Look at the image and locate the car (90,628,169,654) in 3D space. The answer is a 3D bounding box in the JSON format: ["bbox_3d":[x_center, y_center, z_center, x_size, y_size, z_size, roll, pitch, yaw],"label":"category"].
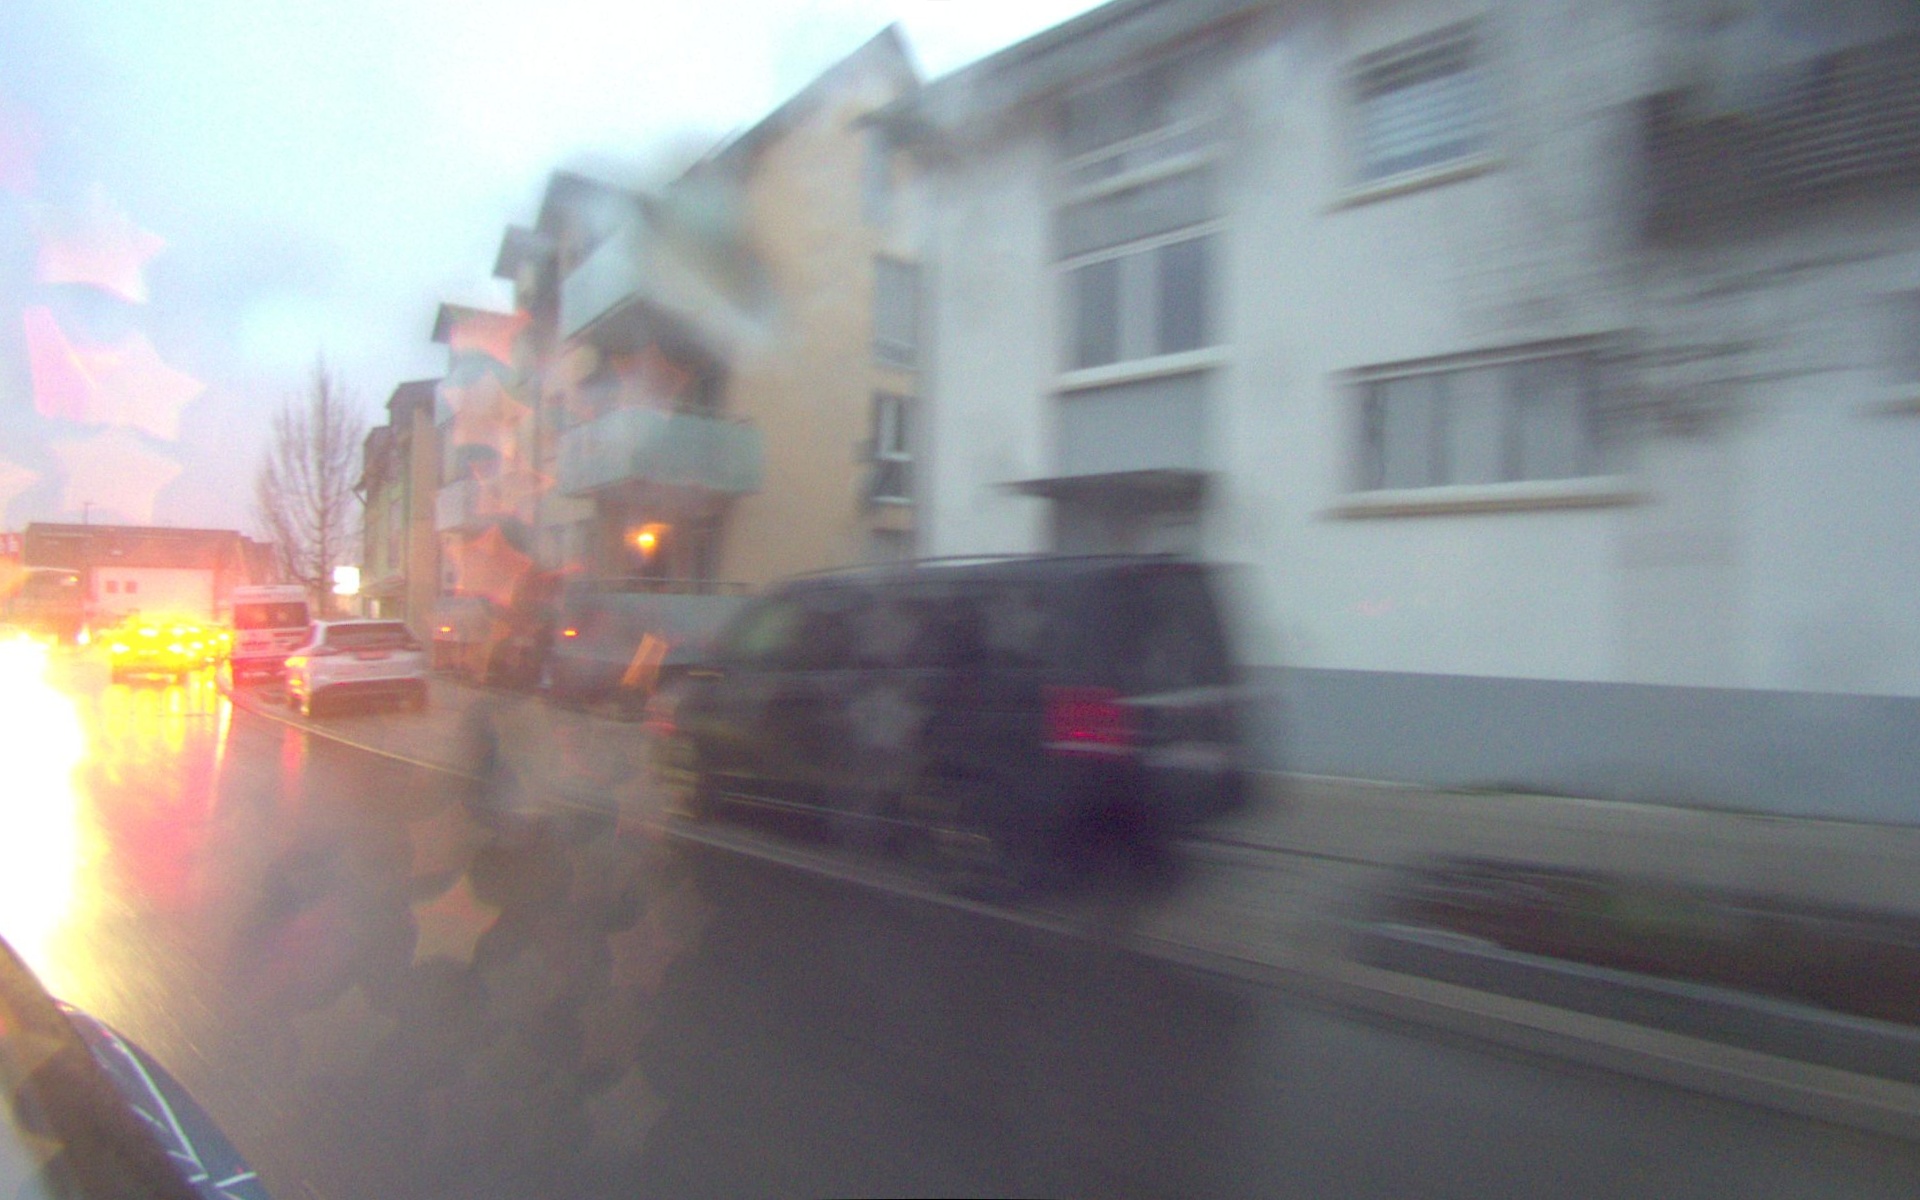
[{"bbox_3d":[-59.726,2.977,72.856,3.931,1.660,1.867,3,-4,-21],"label":"car"}]

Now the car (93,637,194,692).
[{"bbox_3d":[-24.530,1.888,30.549,1.966,1.511,4.011,1,-2,-34],"label":"car"}]

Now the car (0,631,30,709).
[{"bbox_3d":[-21.998,1.520,22.471,1.851,1.644,4.005,1,-2,-41],"label":"car"}]

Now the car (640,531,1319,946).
[{"bbox_3d":[-0.246,0.710,7.089,1.858,1.914,4.838,-1,-1,-43],"label":"car"}]

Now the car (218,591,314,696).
[{"bbox_3d":[-19.711,1.182,28.674,2.015,2.679,4.219,-2,0,-37],"label":"car"}]

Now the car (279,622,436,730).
[{"bbox_3d":[-11.259,1.312,18.762,1.910,1.682,4.349,-2,0,-38],"label":"car"}]
